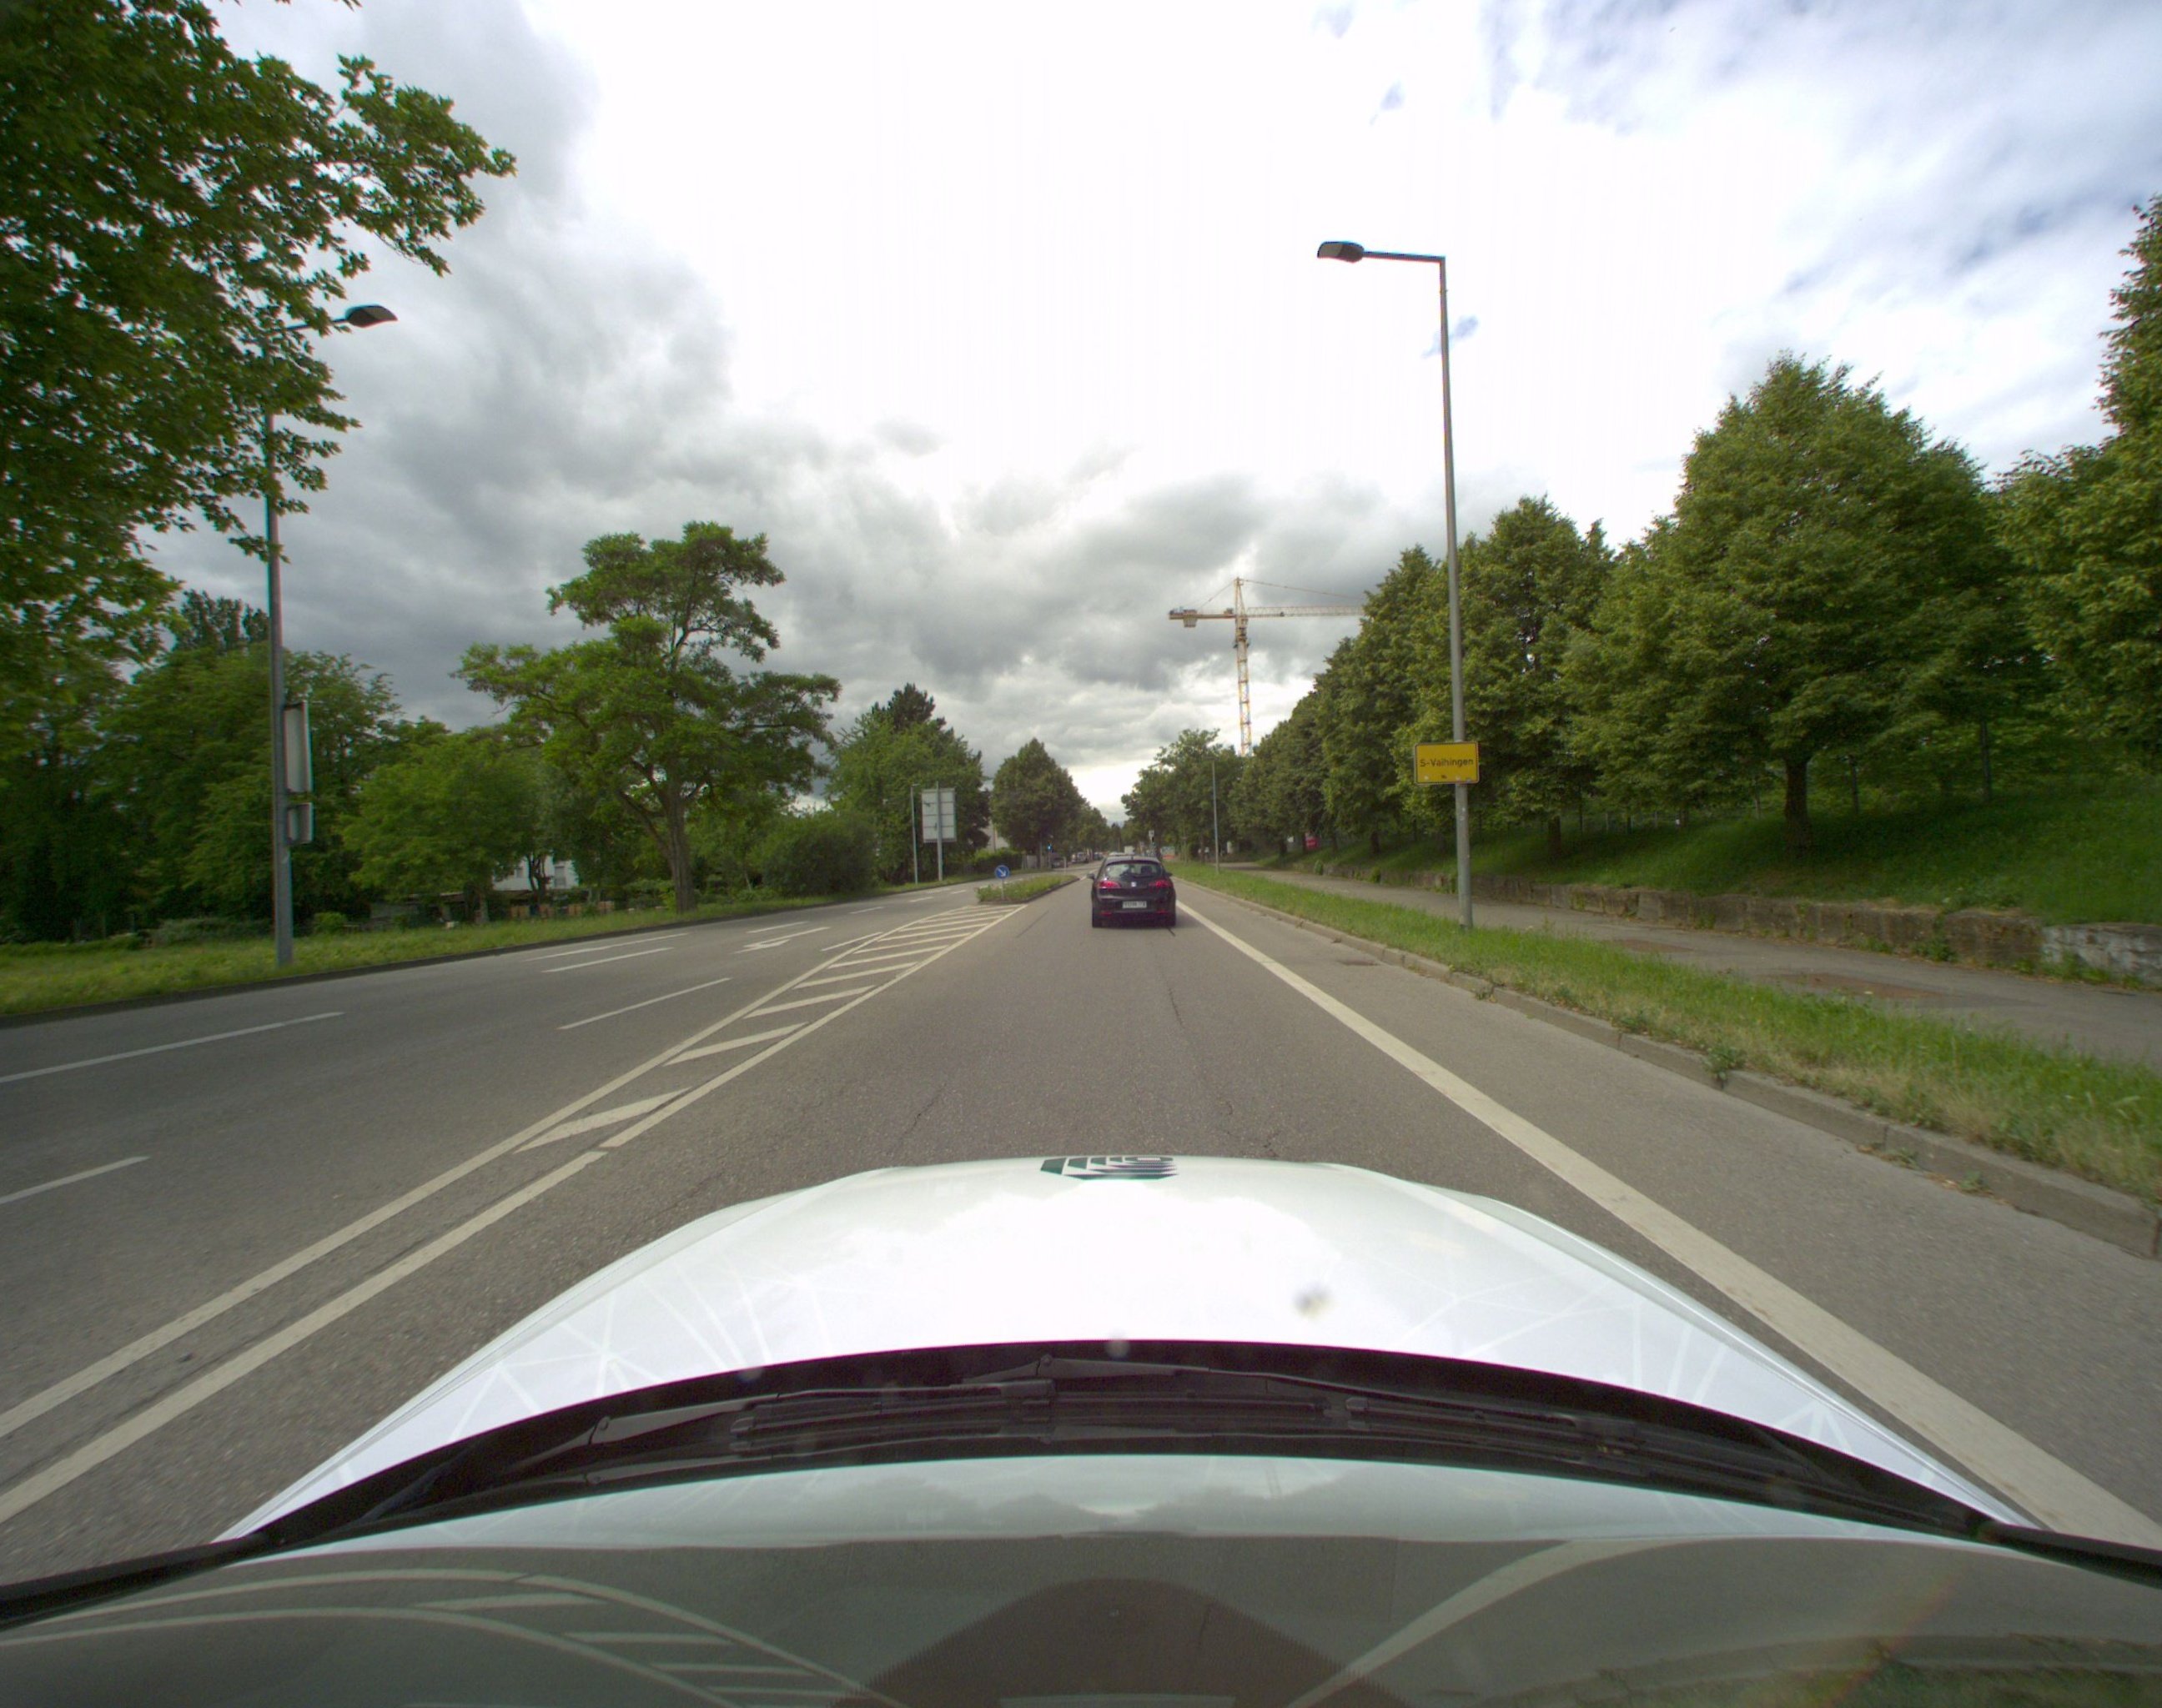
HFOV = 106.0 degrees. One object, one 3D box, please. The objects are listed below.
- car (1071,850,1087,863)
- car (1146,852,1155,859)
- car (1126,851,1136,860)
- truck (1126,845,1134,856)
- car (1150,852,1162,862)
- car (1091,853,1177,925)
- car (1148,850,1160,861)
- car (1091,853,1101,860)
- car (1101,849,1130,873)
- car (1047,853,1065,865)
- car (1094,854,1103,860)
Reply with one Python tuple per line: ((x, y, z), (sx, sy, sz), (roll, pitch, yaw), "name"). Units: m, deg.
((-0.370, 0.358, 132.568), (2.091, 1.896, 5.790), (-4, 0, 4), "car")
((14.880, 0.340, 174.875), (1.681, 1.564, 4.218), (-2, 0, 4), "car")
((9.752, 0.206, 159.937), (1.873, 1.689, 4.218), (-2, 0, 4), "car")
((14.071, -1.020, 235.891), (2.269, 3.104, 8.517), (0, 0, 3), "truck")
((11.672, 0.395, 126.552), (1.681, 1.490, 3.358), (-2, 0, 4), "car")
((1.113, 0.690, 17.810), (1.656, 1.401, 3.814), (-1, 0, 2), "car")
((11.757, 0.280, 131.674), (1.681, 1.711, 4.218), (-2, 0, 4), "car")
((3.561, 0.615, 189.866), (2.091, 1.506, 5.790), (-4, 0, 4), "car")
((2.383, 0.468, 55.378), (1.838, 1.510, 3.815), (-1, 0, 3), "car")
((-3.105, 0.667, 103.510), (1.711, 1.395, 4.806), (-4, 0, 4), "car")
((4.783, 0.836, 222.702), (2.091, 1.506, 5.790), (-4, 0, 4), "car")
